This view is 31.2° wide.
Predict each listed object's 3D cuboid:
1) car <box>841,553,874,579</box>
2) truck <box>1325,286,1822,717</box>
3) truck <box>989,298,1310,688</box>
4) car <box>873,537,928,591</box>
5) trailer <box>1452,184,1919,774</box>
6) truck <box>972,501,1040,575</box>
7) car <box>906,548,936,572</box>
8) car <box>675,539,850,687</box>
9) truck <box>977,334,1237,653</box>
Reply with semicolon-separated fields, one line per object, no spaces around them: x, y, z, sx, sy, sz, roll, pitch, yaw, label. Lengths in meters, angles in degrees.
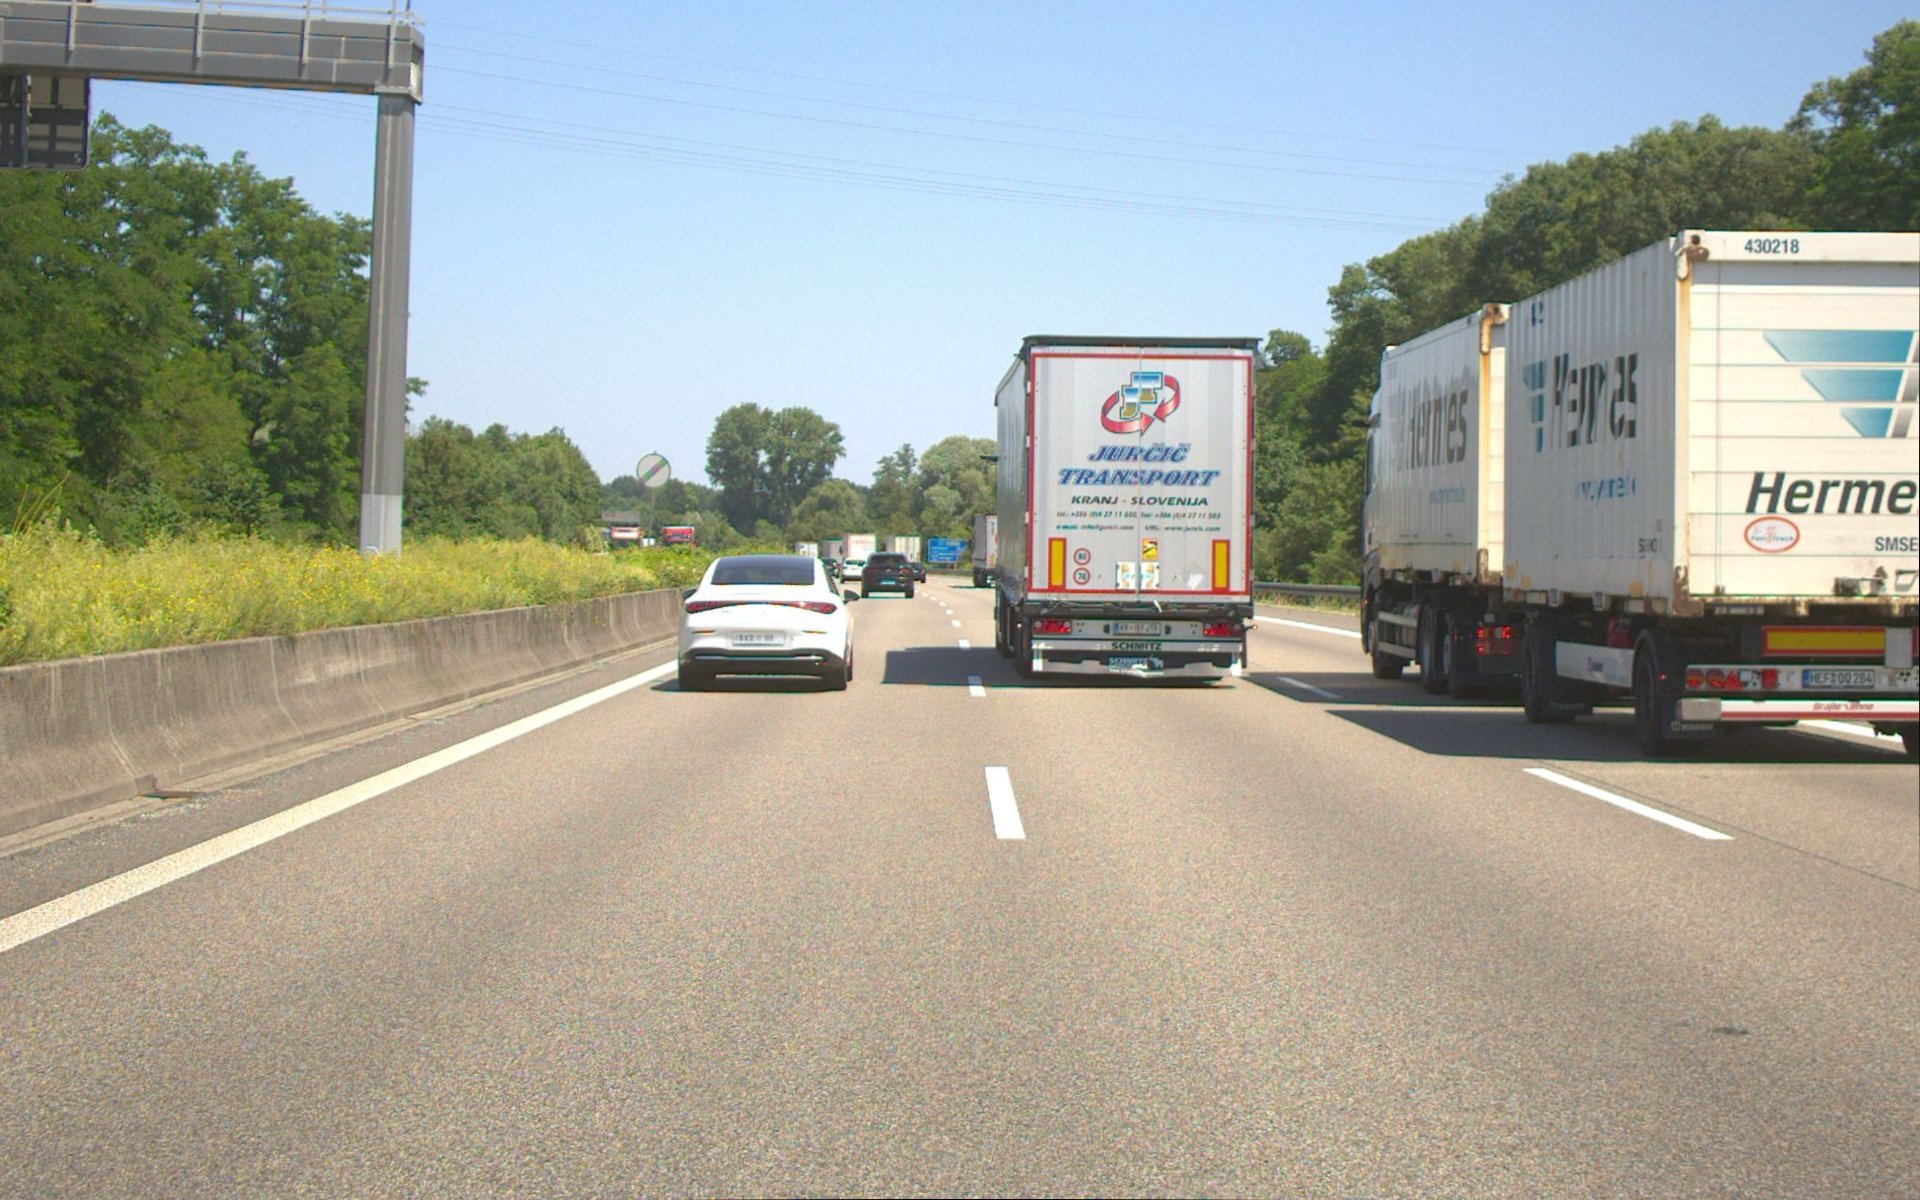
-6.564;-2.175;220.729;1.993;1.590;4.000;1;1;-1;car
6.411;-1.064;38.170;3.325;4.039;10.955;1;1;-1;truck
2.101;-1.270;41.768;3.229;4.187;8.467;1;1;-1;truck
-2.242;-1.391;129.993;1.993;1.867;4.001;1;3;-1;car
6.543;-0.943;28.825;3.367;4.128;9.092;1;1;-1;trailer
2.522;-3.485;192.111;3.444;3.976;9.516;1;1;-1;truck
-2.633;-2.716;232.512;1.993;1.590;4.000;1;1;-1;car
-2.157;0.096;38.691;1.767;1.443;5.109;1;2;-1;car
1.972;-1.473;48.923;3.218;4.190;6.551;1;1;-1;truck
